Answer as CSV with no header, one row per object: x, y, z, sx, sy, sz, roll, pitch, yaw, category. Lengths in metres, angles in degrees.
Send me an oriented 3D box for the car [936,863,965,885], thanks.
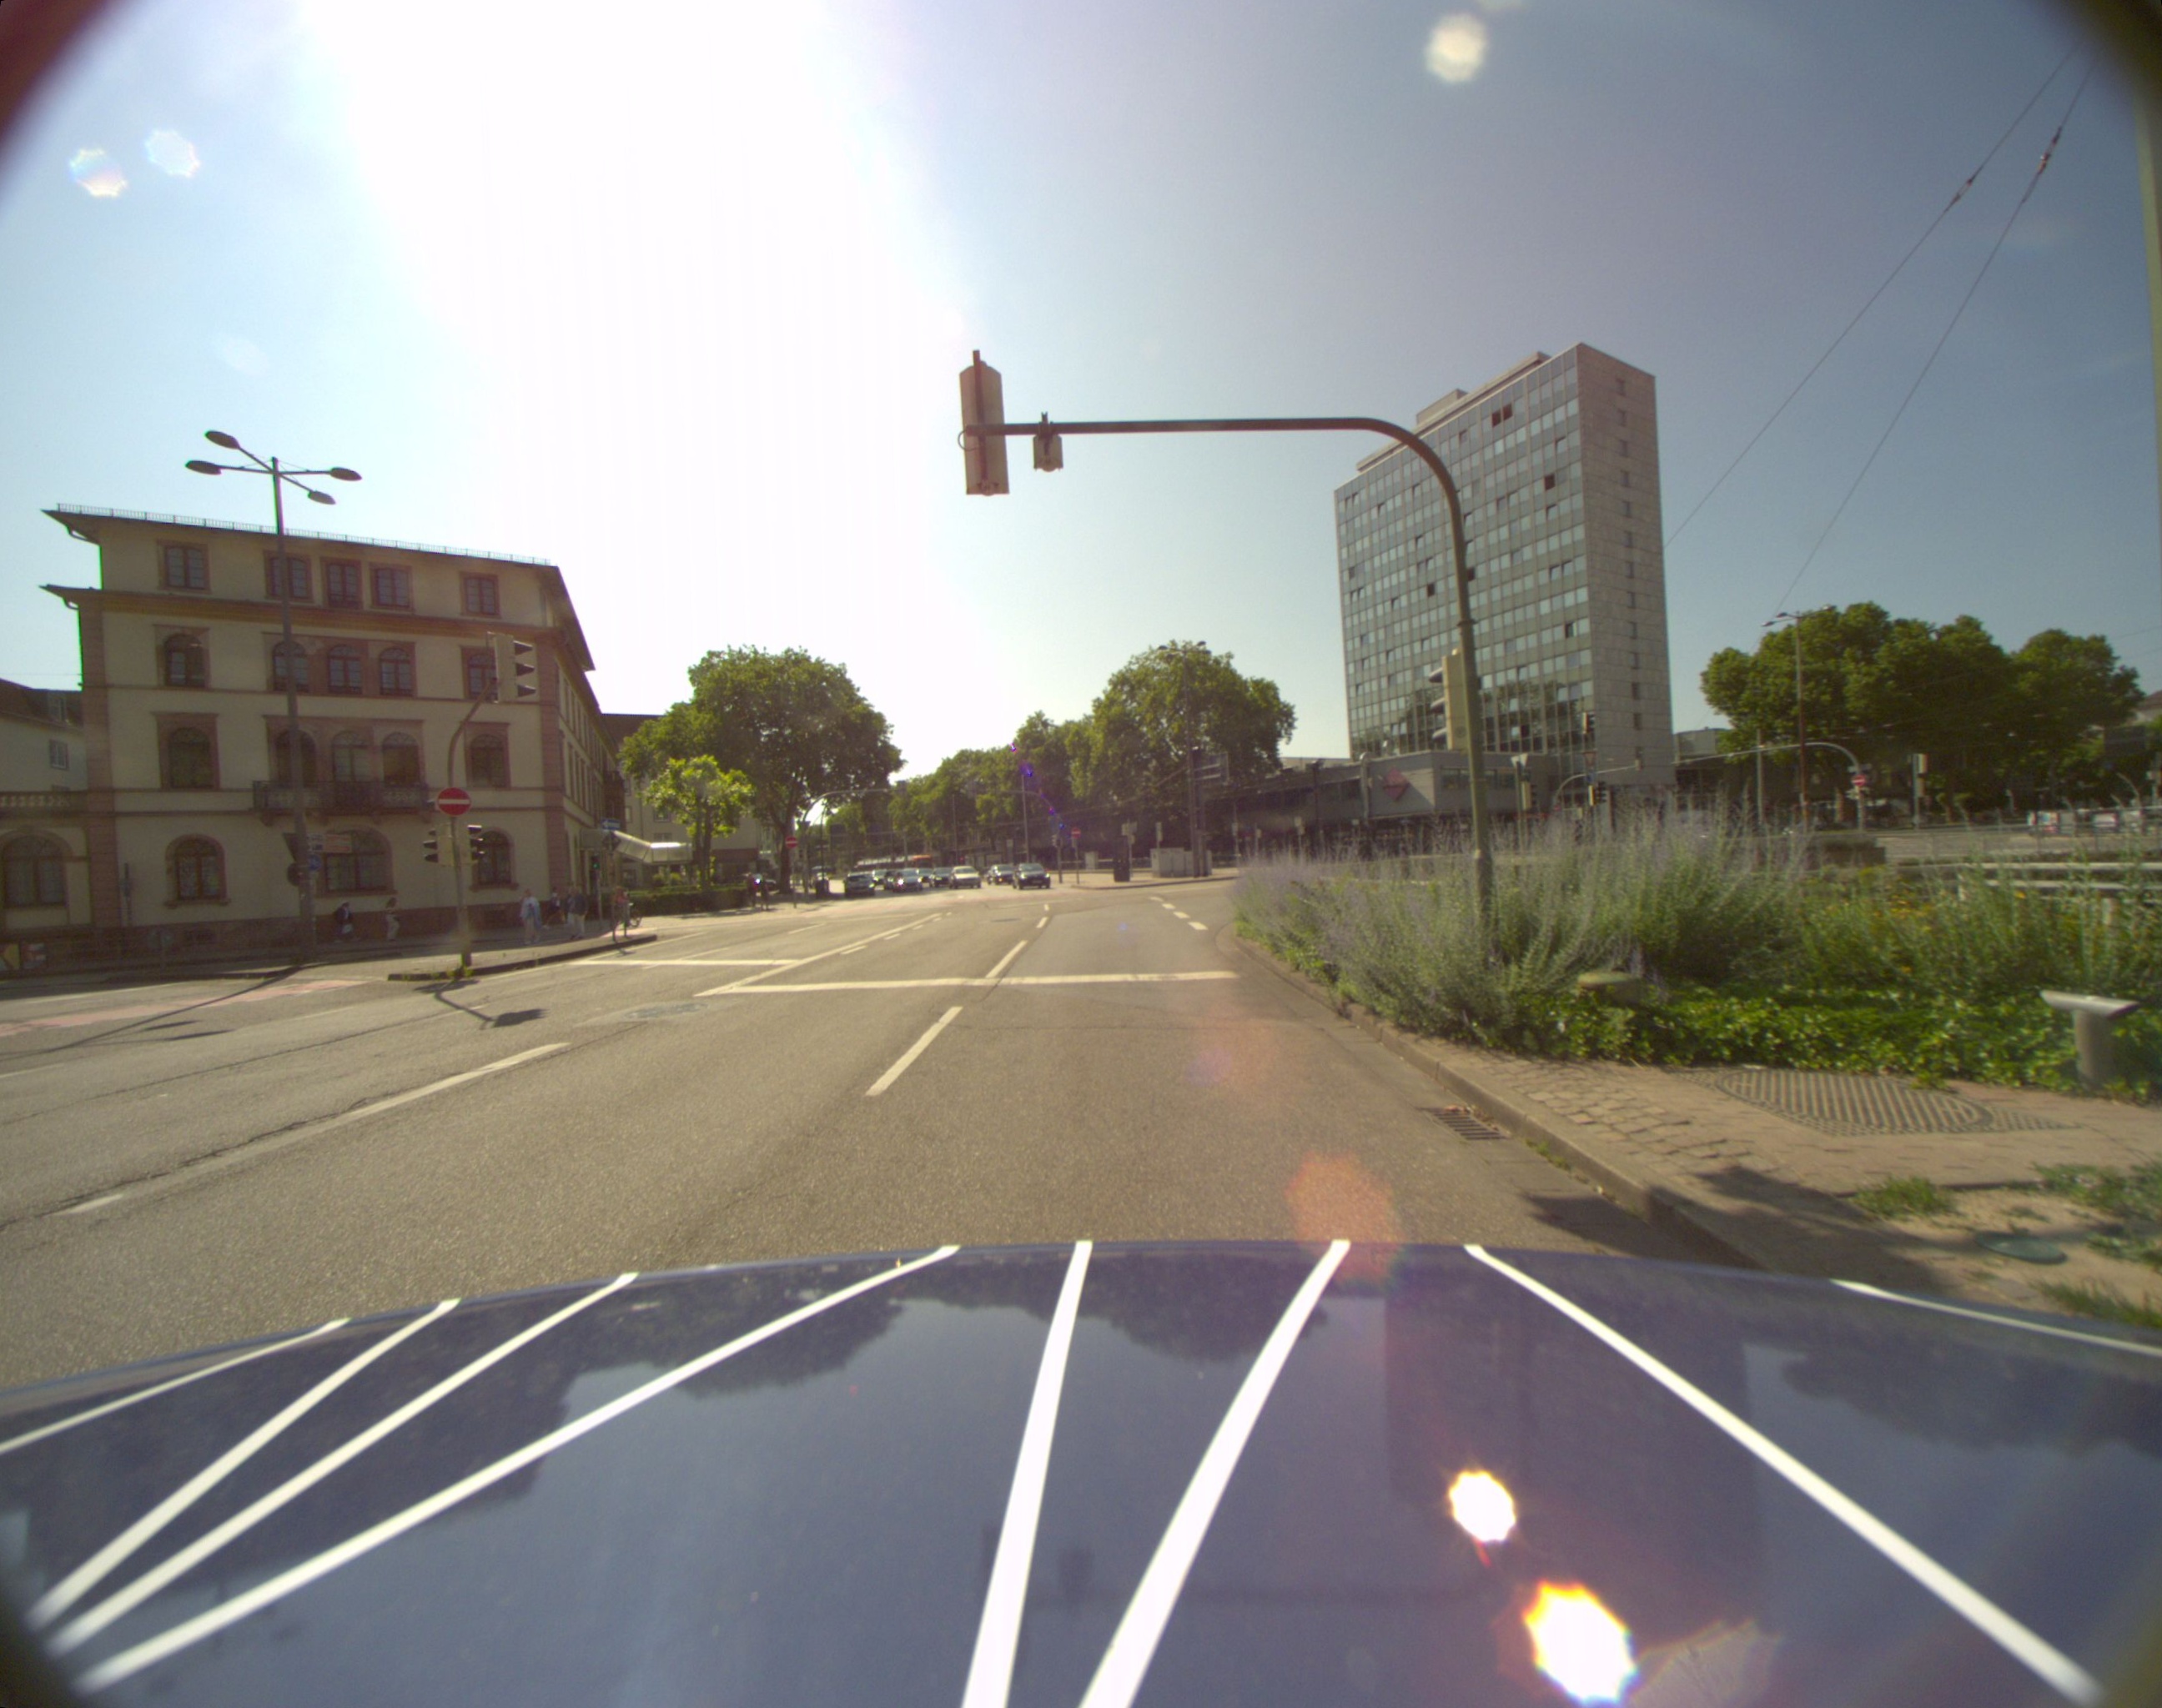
-9.918,1.503,57.577,1.793,1.514,3.969,-2,0,-15,car

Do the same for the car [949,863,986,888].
-7.590,1.424,50.579,1.721,1.491,4.484,-2,-1,-18,car

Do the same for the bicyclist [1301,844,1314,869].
16.032,0.166,53.707,0.684,1.697,0.521,-3,1,-1,bicyclist

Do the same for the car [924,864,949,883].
-12.523,1.686,65.552,1.793,1.514,3.969,-2,0,-15,car

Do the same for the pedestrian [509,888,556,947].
-16.421,1.893,22.777,0.754,1.650,0.829,-3,0,-9,pedestrian

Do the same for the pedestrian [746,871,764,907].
-16.949,1.812,39.474,0.727,1.795,0.651,-4,1,-21,pedestrian

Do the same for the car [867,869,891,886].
-18.049,2.076,68.092,1.792,1.443,3.970,-2,0,-11,car

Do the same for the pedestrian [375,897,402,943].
-26.189,2.484,28.738,0.536,1.639,0.579,-4,1,-25,pedestrian

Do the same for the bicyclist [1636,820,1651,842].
47.457,-1.927,64.078,0.684,1.758,0.696,-3,2,-11,bicyclist

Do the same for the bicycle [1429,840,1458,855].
28.996,-0.536,60.747,1.967,1.096,0.577,-3,0,2,bicycle

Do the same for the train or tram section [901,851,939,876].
-23.259,1.395,109.206,2.738,3.248,8.719,-4,0,-29,train or tram section

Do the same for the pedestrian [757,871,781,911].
-14.760,1.734,35.972,0.590,1.834,0.730,-3,1,39,pedestrian

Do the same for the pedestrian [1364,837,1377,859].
24.302,-0.501,63.777,0.822,1.796,0.671,-2,1,10,pedestrian

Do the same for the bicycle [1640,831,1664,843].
46.624,-1.368,62.069,1.812,0.878,0.592,-4,2,-17,bicycle

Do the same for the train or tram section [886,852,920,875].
-27.414,1.522,116.833,2.738,3.248,8.719,-4,0,-29,train or tram section

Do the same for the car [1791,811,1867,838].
51.560,-2.027,52.399,4.080,1.525,1.880,-3,0,-15,car

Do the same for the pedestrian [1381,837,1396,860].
24.459,-0.430,60.495,0.825,1.825,0.670,-3,1,-28,pedestrian

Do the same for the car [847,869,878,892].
-16.287,1.947,56.540,1.794,1.516,3.967,-2,0,-21,car

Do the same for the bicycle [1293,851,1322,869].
16.008,0.435,53.715,1.815,1.160,0.521,-2,1,-1,bicycle

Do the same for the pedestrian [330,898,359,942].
-28.511,2.556,29.423,0.536,1.639,0.673,-4,1,-25,pedestrian

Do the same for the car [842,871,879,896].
-14.121,1.863,48.527,1.794,1.443,3.967,-2,0,-23,car

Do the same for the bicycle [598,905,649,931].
-17.718,2.469,29.492,0.592,0.850,1.746,-3,0,14,bicycle

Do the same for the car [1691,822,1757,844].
50.746,-1.637,59.984,4.166,1.451,1.880,-3,0,-15,car

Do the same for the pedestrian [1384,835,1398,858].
25.421,-0.592,62.331,0.823,1.825,0.671,-2,1,3,pedestrian

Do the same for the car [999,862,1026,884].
-4.937,1.336,54.730,1.791,1.508,3.972,-2,0,-5,car

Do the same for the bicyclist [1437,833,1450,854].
28.993,-0.836,60.746,0.683,1.677,0.584,-3,1,2,bicyclist

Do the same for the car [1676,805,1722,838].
58.628,-3.071,72.055,4.642,2.899,1.744,-3,0,-30,car

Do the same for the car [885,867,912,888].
-14.209,1.808,59.071,1.793,1.521,3.968,-2,0,-17,car

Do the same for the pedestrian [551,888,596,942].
-15.742,1.882,23.586,0.773,1.563,0.829,-3,0,-8,pedestrian

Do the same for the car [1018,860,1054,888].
-2.530,1.135,43.937,1.791,1.443,4.280,-2,0,0,car

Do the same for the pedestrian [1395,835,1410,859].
25.468,-0.537,60.262,0.825,1.825,0.670,-3,1,-29,pedestrian

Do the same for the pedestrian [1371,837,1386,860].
24.088,-0.421,61.569,0.825,1.825,0.733,-3,1,-28,pedestrian

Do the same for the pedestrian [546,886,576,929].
-21.182,2.158,30.954,0.845,1.685,0.743,-4,1,-29,pedestrian

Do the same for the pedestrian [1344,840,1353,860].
22.546,-0.343,64.044,0.598,1.628,0.566,-2,1,28,pedestrian

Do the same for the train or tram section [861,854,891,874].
-35.720,1.777,132.180,2.738,3.248,8.719,-4,0,-29,train or tram section

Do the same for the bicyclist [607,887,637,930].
-17.758,2.097,29.405,0.592,1.597,0.685,-3,1,13,bicyclist

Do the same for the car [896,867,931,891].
-11.312,1.645,51.447,1.792,1.443,3.972,-2,0,-6,car

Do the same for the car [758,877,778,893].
-29.463,2.889,71.506,1.592,1.314,3.573,-4,0,-23,car
